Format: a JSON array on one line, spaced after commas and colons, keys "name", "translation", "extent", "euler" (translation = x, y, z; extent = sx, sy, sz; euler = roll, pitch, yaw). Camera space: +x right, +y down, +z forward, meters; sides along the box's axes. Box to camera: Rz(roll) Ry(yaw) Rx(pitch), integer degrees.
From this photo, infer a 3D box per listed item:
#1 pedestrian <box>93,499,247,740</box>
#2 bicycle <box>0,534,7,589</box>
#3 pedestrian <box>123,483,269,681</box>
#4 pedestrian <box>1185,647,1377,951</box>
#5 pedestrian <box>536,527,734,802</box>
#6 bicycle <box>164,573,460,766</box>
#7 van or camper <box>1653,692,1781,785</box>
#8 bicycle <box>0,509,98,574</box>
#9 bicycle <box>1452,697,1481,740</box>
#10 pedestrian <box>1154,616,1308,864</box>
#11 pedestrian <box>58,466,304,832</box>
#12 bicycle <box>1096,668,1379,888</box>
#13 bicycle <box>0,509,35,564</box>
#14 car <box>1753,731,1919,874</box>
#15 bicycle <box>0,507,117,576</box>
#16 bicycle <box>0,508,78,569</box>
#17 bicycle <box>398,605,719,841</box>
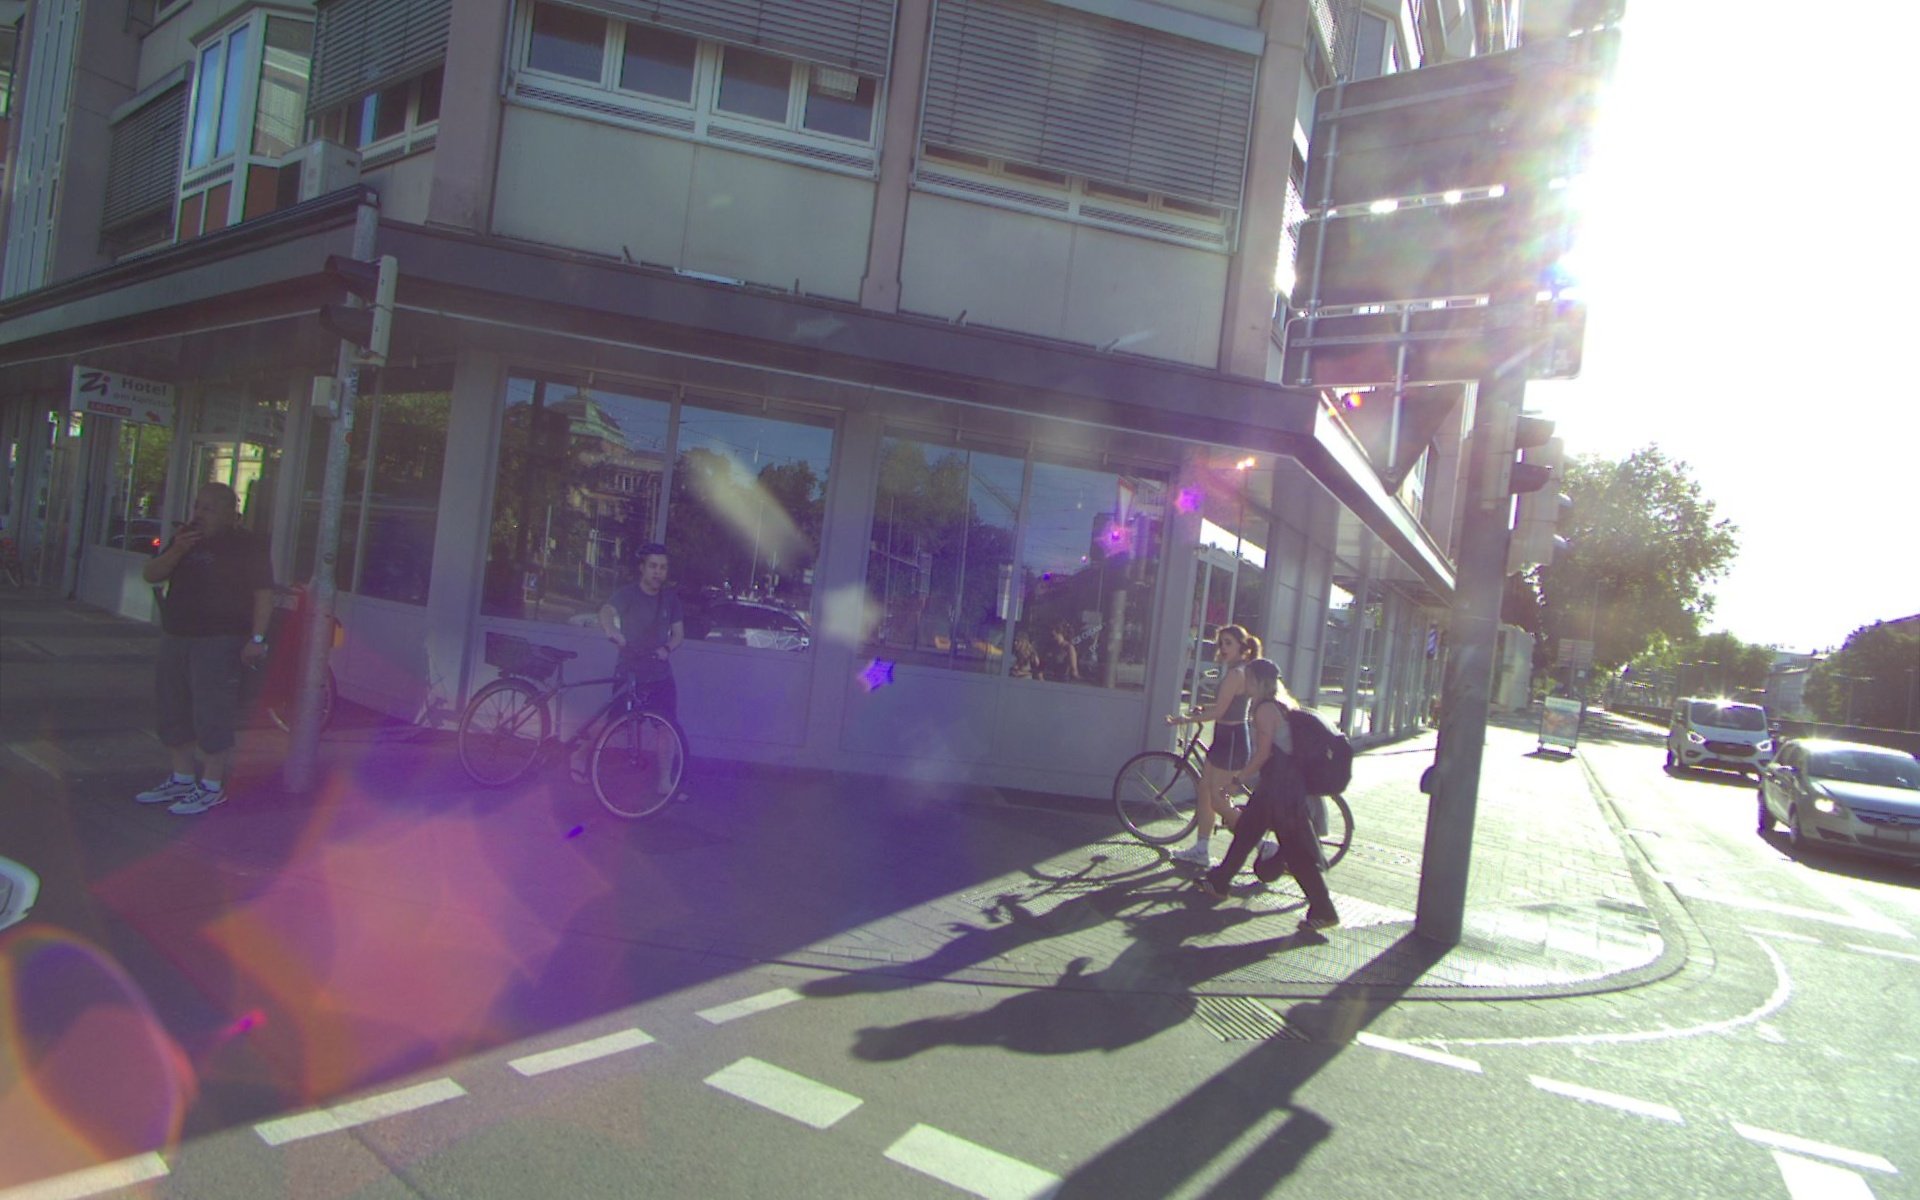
[{"name": "pedestrian", "translation": [-5.519, 0.139, 7.053], "extent": [0.535, 1.581, 0.472], "euler": [7, 0, -7]}, {"name": "bicycle", "translation": [-15.837, -0.674, 16.234], "extent": [1.218, 0.867, 0.414], "euler": [6, 0, 37]}, {"name": "pedestrian", "translation": [-7.060, -0.149, 9.320], "extent": [0.659, 1.709, 0.688], "euler": [7, 0, 21]}, {"name": "pedestrian", "translation": [1.986, 1.153, 6.174], "extent": [0.852, 1.595, 0.781], "euler": [8, 0, 23]}, {"name": "pedestrian", "translation": [-2.290, 0.439, 7.076], "extent": [0.911, 1.776, 0.830], "euler": [7, 0, -40]}, {"name": "bicycle", "translation": [-4.793, 0.483, 7.428], "extent": [2.084, 1.115, 0.490], "euler": [7, 0, 16]}, {"name": "van or camper", "translation": [20.748, 3.708, 27.812], "extent": [2.007, 1.976, 5.252], "euler": [7, 0, 30]}, {"name": "bicycle", "translation": [-20.811, -1.344, 22.274], "extent": [0.783, 1.231, 2.431], "euler": [7, -1, 33]}, {"name": "bicycle", "translation": [14.008, 3.257, 27.783], "extent": [0.527, 1.062, 1.971], "euler": [7, -1, 29]}, {"name": "pedestrian", "translation": [1.928, 0.957, 7.126], "extent": [0.851, 1.573, 0.527], "euler": [7, 0, 19]}, {"name": "pedestrian", "translation": [-4.245, 0.237, 5.487], "extent": [0.902, 1.804, 0.627], "euler": [7, 0, 31]}, {"name": "bicycle", "translation": [2.074, 1.288, 7.627], "extent": [1.872, 1.300, 0.545], "euler": [7, 0, 19]}, {"name": "bicycle", "translation": [-23.161, -1.607, 23.238], "extent": [0.816, 1.231, 2.431], "euler": [7, -1, 33]}, {"name": "car", "translation": [12.398, 2.709, 13.883], "extent": [1.774, 1.449, 3.845], "euler": [4, -2, 32]}, {"name": "bicycle", "translation": [-19.987, -1.296, 21.798], "extent": [0.783, 1.231, 2.431], "euler": [7, -1, 33]}, {"name": "bicycle", "translation": [-22.050, -1.500, 23.141], "extent": [0.783, 1.231, 2.431], "euler": [7, -1, 33]}, {"name": "bicycle", "translation": [-2.583, 0.738, 6.446], "extent": [1.936, 1.175, 0.490], "euler": [7, 0, 18]}]
